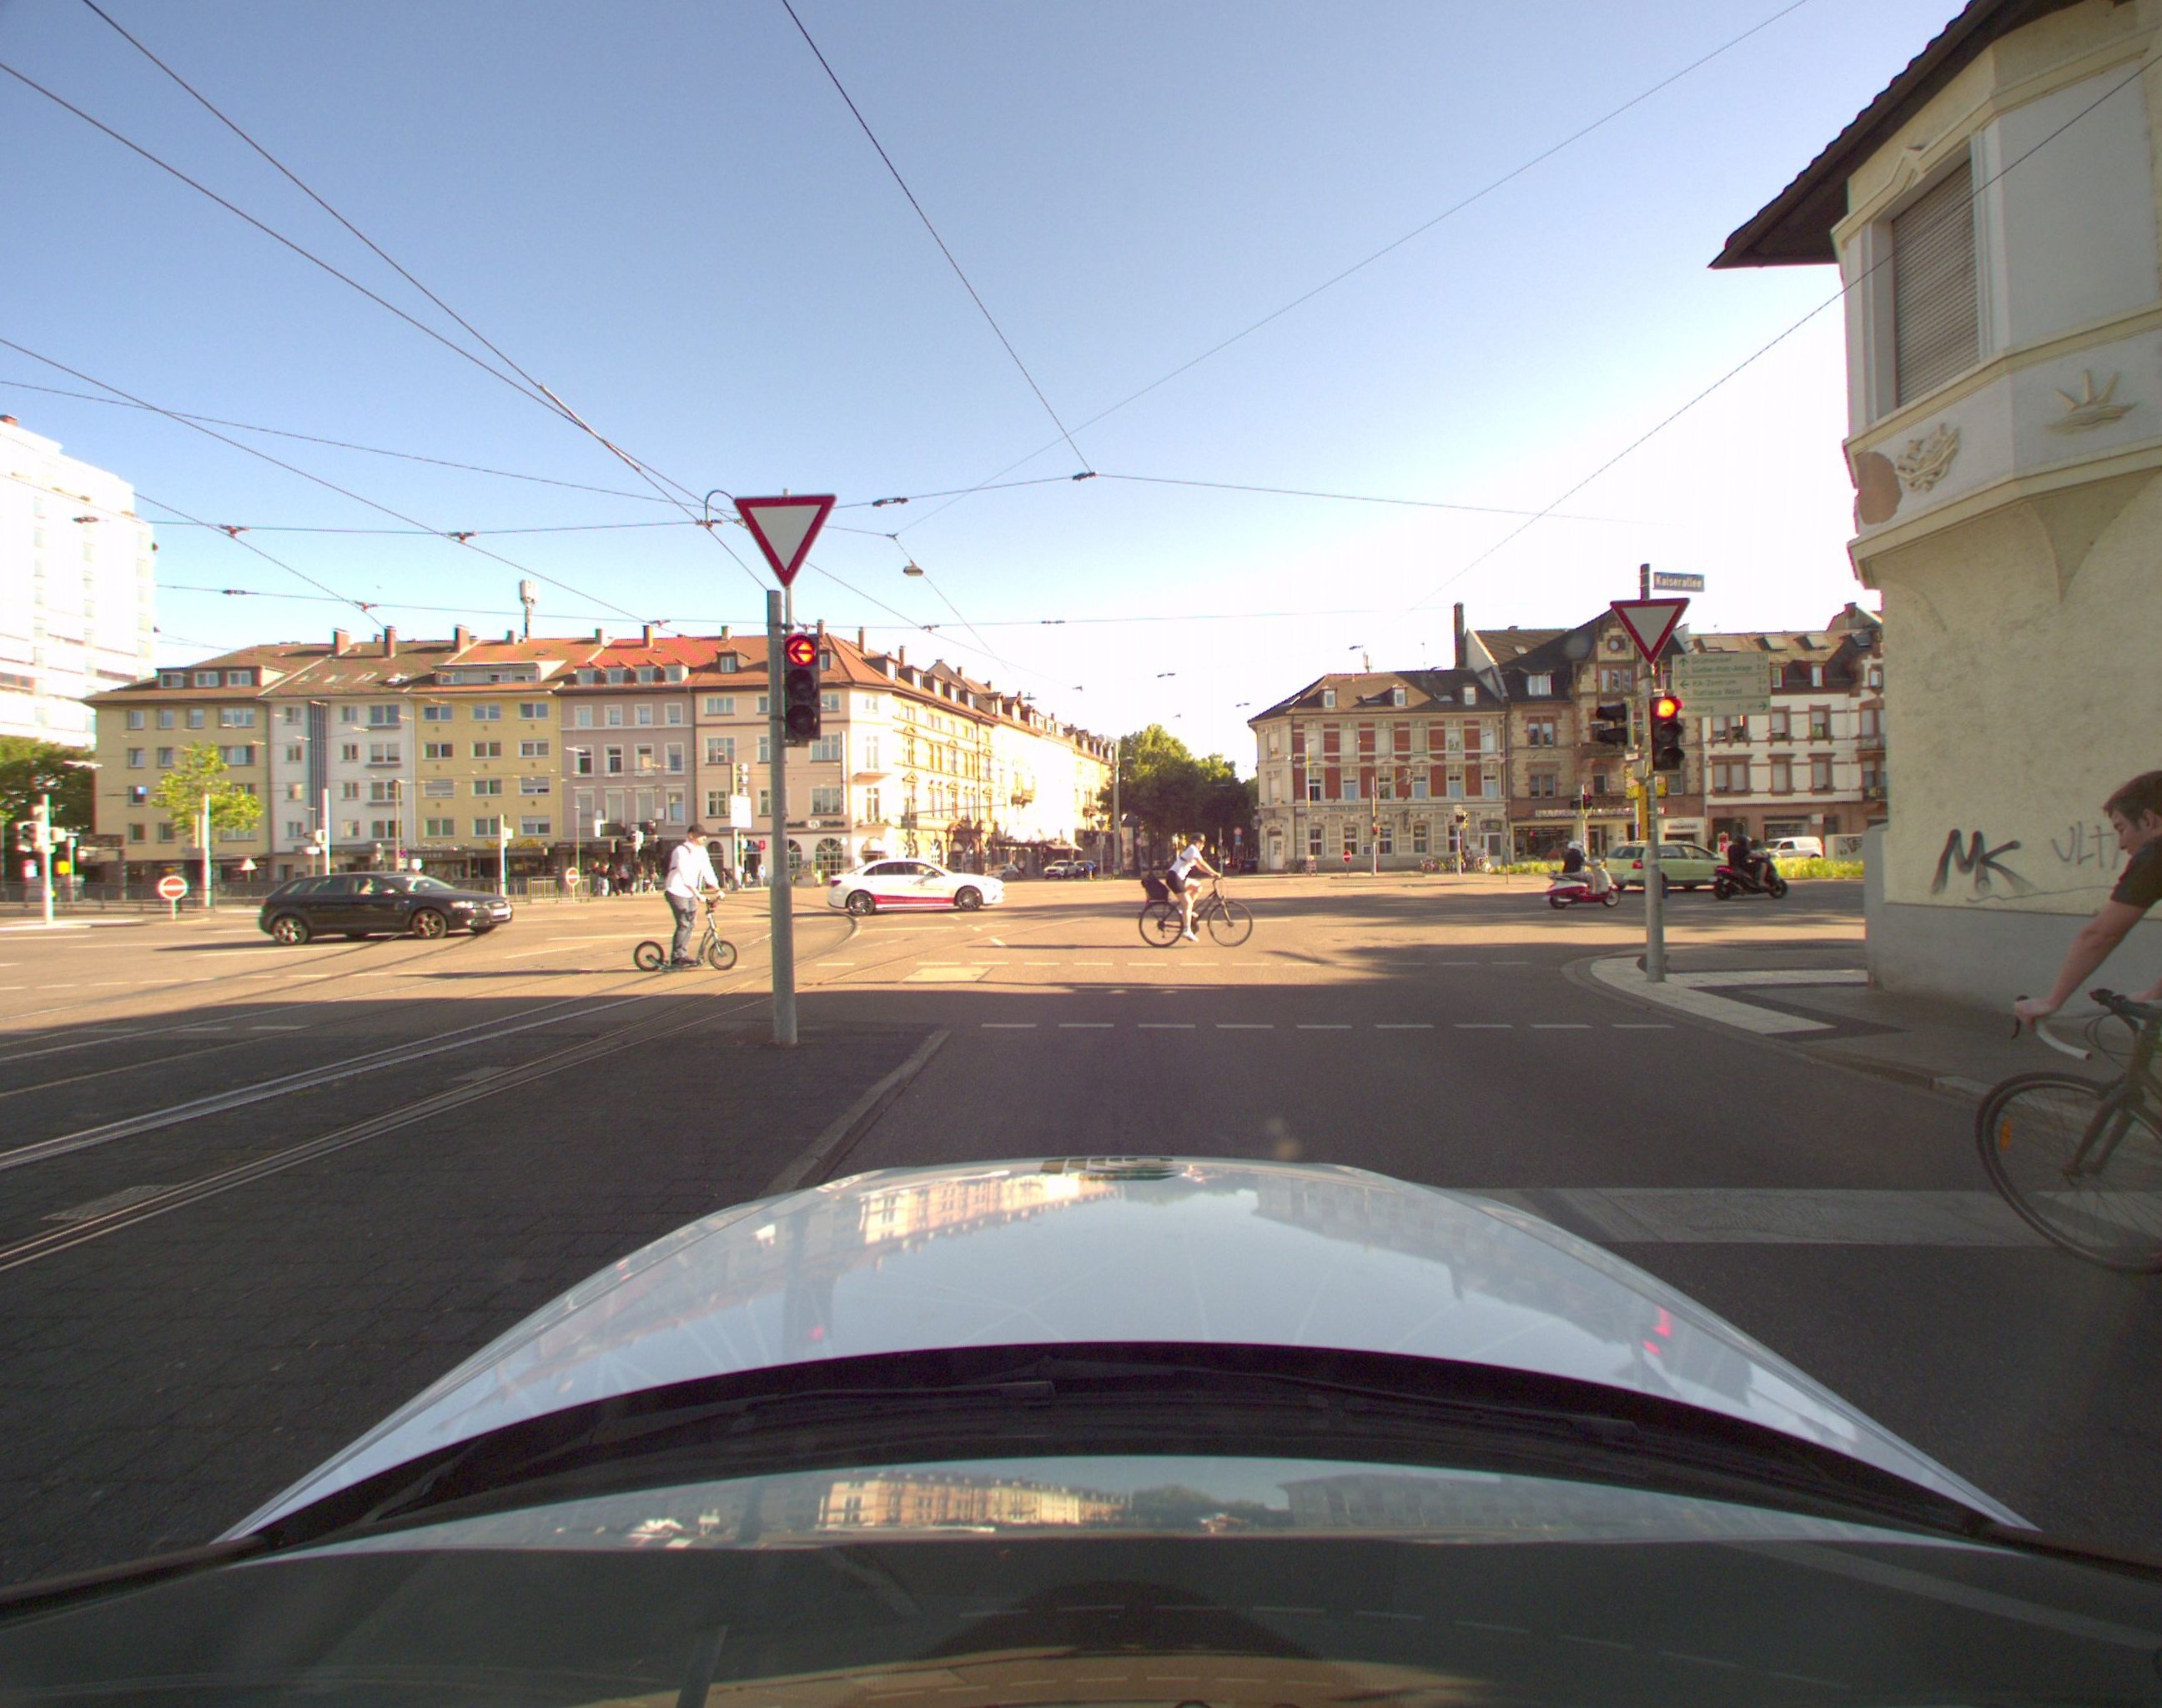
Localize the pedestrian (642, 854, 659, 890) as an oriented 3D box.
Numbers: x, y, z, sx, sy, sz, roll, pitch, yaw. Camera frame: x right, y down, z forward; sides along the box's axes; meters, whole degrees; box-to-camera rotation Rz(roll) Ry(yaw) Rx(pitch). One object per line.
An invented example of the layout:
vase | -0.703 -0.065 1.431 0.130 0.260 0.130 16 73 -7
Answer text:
pedestrian | -21.720 0.895 41.097 0.558 1.786 0.560 -1 0 1

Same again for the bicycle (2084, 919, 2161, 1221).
bicycle | 4.508 0.857 2.491 0.568 1.165 1.890 -1 0 2

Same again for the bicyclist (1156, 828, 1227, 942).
bicyclist | 1.714 0.472 12.739 0.937 1.713 0.732 -1 0 -6

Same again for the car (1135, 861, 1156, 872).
car | 9.249 1.804 116.826 1.977 1.404 4.189 -1 0 18

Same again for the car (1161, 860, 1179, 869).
car | 14.333 1.698 131.263 1.977 1.404 4.189 -1 0 18

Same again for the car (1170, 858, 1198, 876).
car | 8.379 1.040 65.944 1.705 1.300 4.089 -1 0 14

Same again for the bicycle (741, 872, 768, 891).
bicycle | -22.986 1.920 57.379 1.714 1.276 0.385 -1 0 -16

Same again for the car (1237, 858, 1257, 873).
car | 16.803 1.123 82.297 1.742 1.420 4.016 -1 0 14

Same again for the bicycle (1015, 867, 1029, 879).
bicycle | -4.758 1.527 65.572 0.650 1.000 1.671 -1 -1 14

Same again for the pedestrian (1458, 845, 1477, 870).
pedestrian | 26.749 0.224 56.390 1.029 1.712 0.631 -1 -1 10

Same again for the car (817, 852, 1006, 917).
car | -4.358 0.755 21.515 4.666 1.473 1.737 -2 0 -7

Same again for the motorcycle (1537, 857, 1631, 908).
motorcycle | 11.759 0.659 19.047 2.025 1.118 0.503 -1 0 -10

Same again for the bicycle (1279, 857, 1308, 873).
bicycle | 14.916 0.744 57.143 1.940 1.054 0.717 -1 0 11

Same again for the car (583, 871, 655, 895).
car | -30.342 1.900 53.537 3.711 1.491 1.820 0 -1 4

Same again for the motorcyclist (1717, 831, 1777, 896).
motorcyclist | 17.025 0.235 20.831 0.832 1.620 0.814 0 -1 -10

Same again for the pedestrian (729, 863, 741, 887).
pedestrian | -23.914 1.440 56.269 0.744 1.682 0.623 -1 0 -23

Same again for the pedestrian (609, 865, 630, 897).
pedestrian | -23.278 1.372 41.062 0.697 1.581 0.559 -1 0 -4

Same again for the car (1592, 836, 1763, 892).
car | 17.635 0.276 24.165 3.949 1.498 1.738 -1 0 -6

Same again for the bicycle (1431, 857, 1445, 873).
bicycle | 23.163 0.714 52.878 0.483 1.020 1.789 -1 0 12

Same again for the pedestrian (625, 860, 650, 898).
pedestrian | -21.513 1.216 39.507 0.764 1.829 0.723 -1 0 1

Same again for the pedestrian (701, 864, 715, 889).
pedestrian | -26.089 1.583 56.970 0.740 1.682 0.626 -1 0 -10

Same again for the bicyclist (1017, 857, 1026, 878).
bicyclist | -4.764 1.089 65.474 0.486 1.601 0.668 -1 0 12

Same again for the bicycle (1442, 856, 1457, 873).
bicycle | 23.858 0.676 52.759 0.483 1.020 1.789 -1 0 12

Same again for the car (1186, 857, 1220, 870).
car | 14.966 1.146 99.511 3.959 1.454 1.687 -1 0 13

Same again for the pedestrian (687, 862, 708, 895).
pedestrian | -19.890 1.269 42.277 0.738 1.682 0.628 -1 0 1

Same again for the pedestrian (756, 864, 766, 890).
pedestrian | -15.808 1.133 40.208 0.364 1.253 0.449 -1 0 -10

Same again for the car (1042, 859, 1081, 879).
car | -1.586 1.213 67.672 1.977 1.516 4.189 -1 0 18

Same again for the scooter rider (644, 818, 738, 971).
scooter rider | -5.095 0.513 10.685 0.792 1.912 0.797 -1 0 1

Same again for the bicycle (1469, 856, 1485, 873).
bicycle | 25.632 0.663 52.766 0.483 1.020 1.789 -1 0 12

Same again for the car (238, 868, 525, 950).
car | -14.312 1.093 16.872 4.264 1.381 1.642 -2 0 -6

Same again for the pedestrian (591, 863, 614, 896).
pedestrian | -24.901 1.307 42.382 0.764 1.682 0.628 -1 0 1

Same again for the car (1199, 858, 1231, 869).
car | 17.339 1.215 105.165 3.959 1.288 1.700 -1 0 13

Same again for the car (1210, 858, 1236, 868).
car | 19.384 1.203 111.193 3.409 1.239 1.582 -1 0 13

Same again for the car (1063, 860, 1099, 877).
car | 0.035 1.306 73.810 1.977 1.404 4.189 -1 0 18

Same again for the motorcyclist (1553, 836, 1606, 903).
motorcyclist | 11.646 0.351 19.033 0.814 1.507 0.657 -1 0 -10

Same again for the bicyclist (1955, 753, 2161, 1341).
bicyclist | 3.563 0.576 2.503 0.649 1.767 0.995 -1 0 2

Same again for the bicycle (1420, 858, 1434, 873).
bicycle | 22.486 0.724 52.981 0.483 0.914 1.789 -1 0 12

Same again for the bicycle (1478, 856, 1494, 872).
bicycle | 26.337 0.659 52.921 0.483 1.020 1.789 -1 0 12

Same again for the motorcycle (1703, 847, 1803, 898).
motorcycle | 17.199 0.472 20.864 2.205 1.228 0.692 -1 0 -10

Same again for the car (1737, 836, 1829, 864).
car | 45.295 -0.255 52.595 4.239 1.622 1.999 -1 0 -1

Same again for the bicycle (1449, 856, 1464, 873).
bicycle | 24.318 0.673 52.809 0.483 1.020 1.789 -1 0 12

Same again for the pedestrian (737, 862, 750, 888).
pedestrian | -21.826 1.342 52.730 0.744 1.682 0.623 -1 0 -23

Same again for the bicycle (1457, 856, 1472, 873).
bicycle | 24.821 0.669 52.718 0.483 1.020 1.789 -1 0 12

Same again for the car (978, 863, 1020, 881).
car | -6.755 1.473 67.366 1.977 1.361 3.836 -1 0 18

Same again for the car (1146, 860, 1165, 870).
car | 11.203 1.679 122.505 1.977 1.404 4.189 -1 0 18

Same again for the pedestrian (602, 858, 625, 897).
pedestrian | -22.440 1.134 39.116 0.625 1.850 0.778 -1 0 1

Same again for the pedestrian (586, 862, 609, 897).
pedestrian | -23.300 1.212 39.257 0.738 1.635 0.572 -1 0 1

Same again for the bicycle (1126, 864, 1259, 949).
bicycle | 1.727 0.800 12.740 1.920 1.223 0.741 -1 0 -6

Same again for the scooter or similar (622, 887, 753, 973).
scooter or similar | -5.150 0.985 10.698 1.426 1.043 0.565 -1 0 1

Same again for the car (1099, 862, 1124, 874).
car | 3.835 1.704 102.178 1.977 1.404 4.189 -1 0 18

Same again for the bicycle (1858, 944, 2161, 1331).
bicycle | 3.564 0.918 2.506 0.568 1.058 1.890 -1 0 2

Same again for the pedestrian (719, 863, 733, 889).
pedestrian | -23.071 1.408 52.934 0.744 1.682 0.623 -1 0 -23
